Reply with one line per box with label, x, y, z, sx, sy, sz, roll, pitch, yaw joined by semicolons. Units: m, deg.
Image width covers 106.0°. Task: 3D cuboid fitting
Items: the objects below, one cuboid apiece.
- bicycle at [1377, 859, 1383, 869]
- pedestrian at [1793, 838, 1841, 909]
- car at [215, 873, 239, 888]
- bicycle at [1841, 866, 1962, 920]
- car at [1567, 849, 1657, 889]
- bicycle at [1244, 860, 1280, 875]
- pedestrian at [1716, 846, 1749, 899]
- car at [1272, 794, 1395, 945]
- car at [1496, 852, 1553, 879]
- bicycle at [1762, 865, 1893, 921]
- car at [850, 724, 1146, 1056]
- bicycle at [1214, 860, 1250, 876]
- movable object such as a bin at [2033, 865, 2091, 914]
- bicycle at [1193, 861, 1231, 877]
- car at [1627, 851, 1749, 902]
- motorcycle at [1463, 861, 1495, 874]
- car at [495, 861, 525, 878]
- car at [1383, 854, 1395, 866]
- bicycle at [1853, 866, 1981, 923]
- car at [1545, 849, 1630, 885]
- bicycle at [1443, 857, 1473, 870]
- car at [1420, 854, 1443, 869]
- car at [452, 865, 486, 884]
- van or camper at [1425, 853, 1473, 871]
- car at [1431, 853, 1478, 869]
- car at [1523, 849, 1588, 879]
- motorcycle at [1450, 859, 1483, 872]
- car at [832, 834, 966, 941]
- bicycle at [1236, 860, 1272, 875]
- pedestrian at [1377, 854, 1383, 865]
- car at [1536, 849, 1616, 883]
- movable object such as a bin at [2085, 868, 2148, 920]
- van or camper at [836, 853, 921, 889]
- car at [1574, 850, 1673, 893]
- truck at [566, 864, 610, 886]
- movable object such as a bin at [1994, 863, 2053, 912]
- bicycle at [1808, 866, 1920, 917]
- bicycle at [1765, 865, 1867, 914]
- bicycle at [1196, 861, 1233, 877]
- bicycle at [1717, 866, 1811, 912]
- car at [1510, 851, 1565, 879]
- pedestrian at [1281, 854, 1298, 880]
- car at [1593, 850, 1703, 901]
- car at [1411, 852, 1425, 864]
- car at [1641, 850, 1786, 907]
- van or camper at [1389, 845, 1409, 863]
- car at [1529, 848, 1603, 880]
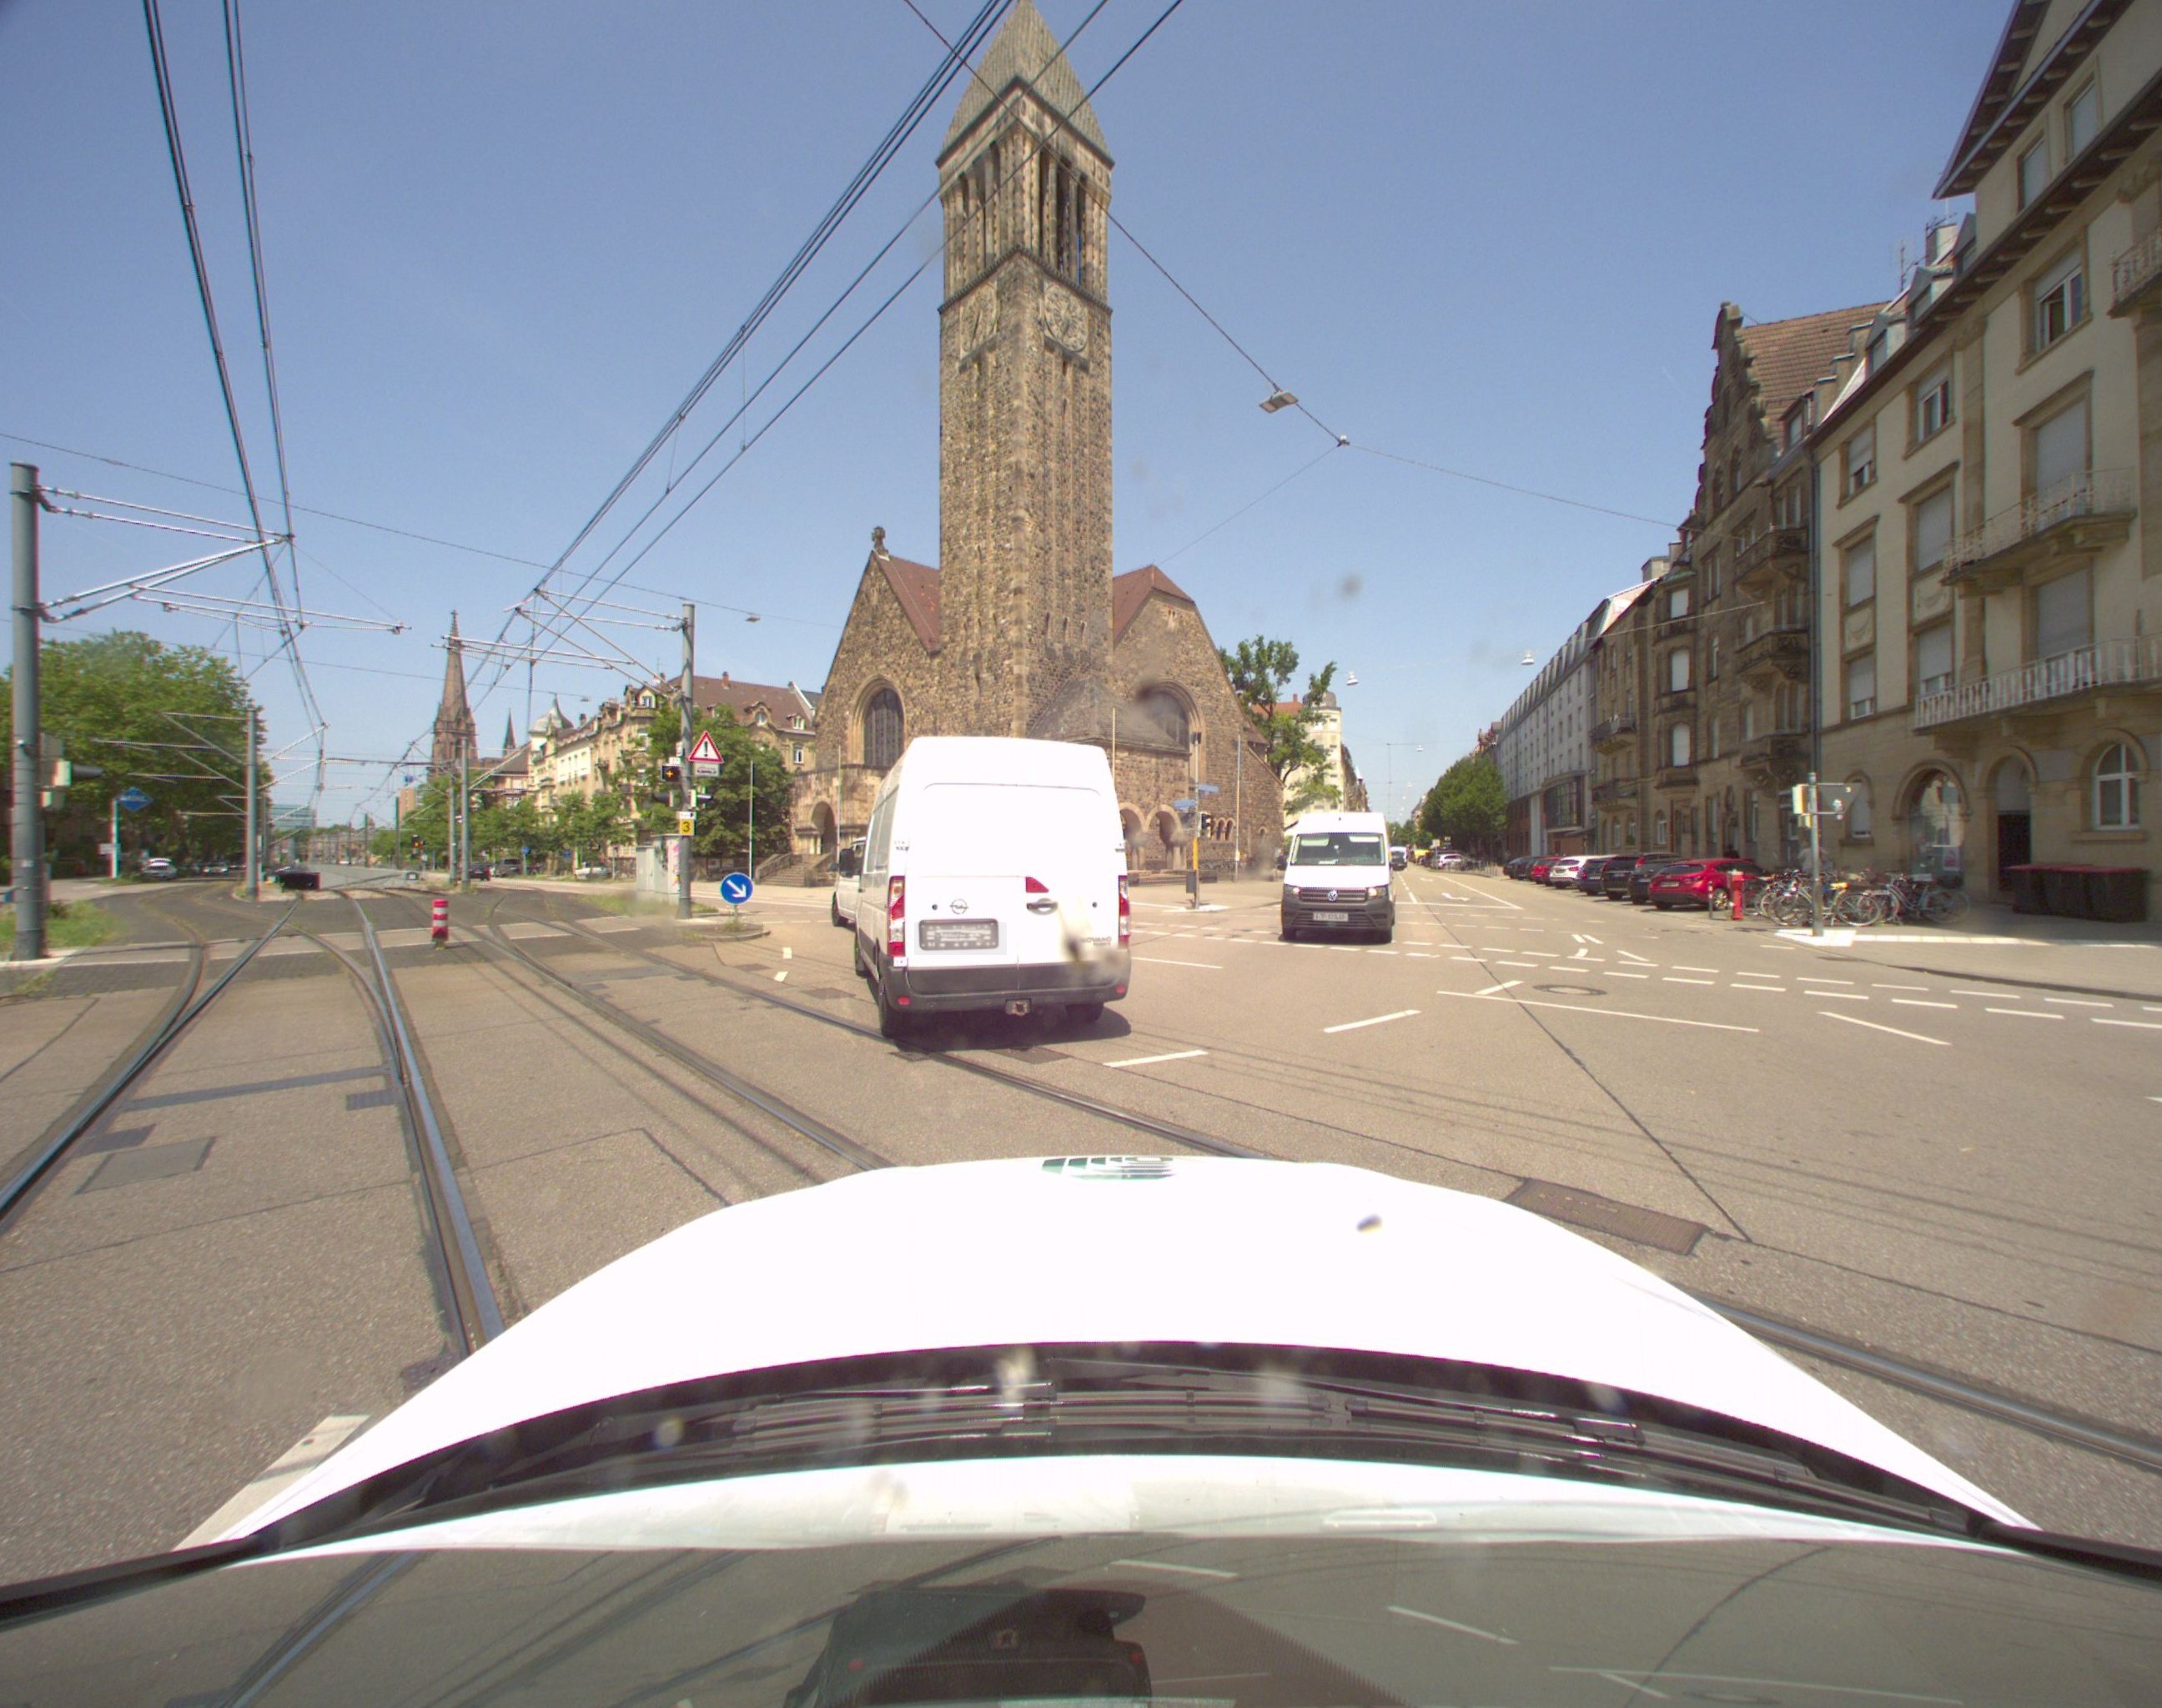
bicycle;39.772;1.321;108.255;0.667;1.359;2.079;-1;0;19
pedestrian;22.467;0.598;24.898;0.856;2.114;1.108;-1;-1;31
car;-104.986;3.235;100.134;1.864;1.625;4.545;-2;1;-44
bicycle;18.251;0.862;18.168;1.782;1.151;0.569;-2;-2;34
car;23.183;0.669;35.555;3.226;1.575;1.606;-2;-2;-19
bicycle;12.700;0.919;57.215;0.710;1.011;2.468;-1;0;-43
pedestrian;25.459;0.721;31.847;0.856;2.014;1.108;-1;-1;31
car;5.688;0.266;17.686;2.053;2.637;6.668;-1;0;21
car;28.930;0.741;53.159;3.232;1.575;1.603;-2;-2;-25
bicycle;16.204;0.829;17.741;2.033;1.151;0.569;-1;0;35
car;-1.268;0.291;8.778;2.123;2.459;5.022;0;-1;-19
bicycle;10.174;0.950;55.002;0.710;1.011;2.468;-1;0;-43
movable object such as a bin;20.600;0.731;17.112;0.575;0.995;0.594;-1;-1;29
bicycle;8.431;0.977;52.487;0.710;1.011;2.468;-1;0;-43
car;19.703;0.733;26.464;3.226;1.479;1.606;-2;-2;-19
motorcycle;36.062;1.186;73.812;2.567;1.174;0.686;-1;-1;23
car;-56.007;1.505;79.860;1.766;1.706;3.712;0;-1;-45
car;56.044;1.084;148.278;1.976;2.014;4.021;0;-1;22
bicycle;17.790;0.856;17.388;1.782;1.151;0.569;-2;-2;34
car;23.942;0.622;38.538;3.222;1.575;1.608;-2;-2;-15
bicycle;35.820;0.919;77.353;2.583;1.174;0.682;0;-1;-2
car;41.750;0.871;97.083;1.940;1.750;4.015;-1;0;14
car;-50.964;1.665;67.790;1.766;1.539;3.712;0;-1;-45
van or camper;39.228;0.871;86.921;4.307;1.838;1.996;-1;0;-6
car;37.229;0.713;81.228;3.978;1.549;1.748;0;-1;-3
car;27.575;0.590;47.369;3.230;1.575;1.604;-2;-2;-24
motorcycle;34.753;1.027;73.461;2.686;1.174;0.779;-1;-1;23
car;-3.964;0.631;17.177;1.926;1.944;4.229;0;-1;-25
bicycle;11.998;0.929;56.455;0.710;1.011;2.468;-1;0;-43
pedestrian;39.719;0.678;108.148;0.724;1.420;0.802;-1;0;18
car;25.037;0.632;41.230;3.221;1.575;1.608;-2;-2;-15
movable object such as a bin;20.324;0.769;15.996;0.575;0.995;0.594;-1;-1;29
van or camper;-10.842;0.894;43.850;1.975;1.807;4.024;-1;-1;42
car;21.773;0.705;32.699;3.226;1.575;1.606;-2;-2;-19
truck;-36.945;1.524;61.002;4.409;1.526;1.806;-1;0;45
movable object such as a bin;20.701;0.721;17.895;0.662;1.064;0.594;-1;-1;29
bicycle;18.306;0.872;19.092;1.782;1.151;0.569;-2;-2;34
bicycle;18.156;0.884;20.169;1.782;1.151;0.569;-2;-2;34
bicycle;8.836;0.968;53.876;0.710;1.011;2.468;-1;0;-43
bicycle;17.889;0.915;21.375;1.786;1.151;0.567;-2;-2;15
car;28.166;0.676;50.227;3.236;1.575;1.482;-1;-2;-30
pedestrian;12.569;0.792;49.111;0.711;1.559;0.797;-1;-1;39
car;20.449;0.777;29.403;3.226;1.665;1.606;-2;-2;-19
car;56.438;0.671;136.347;1.889;2.014;4.024;-2;-1;27
car;18.362;0.717;23.695;3.220;1.479;1.609;-2;-2;-14
van or camper;37.766;-0.015;96.700;2.019;2.141;4.602;-1;0;19
car;26.136;0.547;43.925;3.221;1.575;1.608;-2;-2;-15
